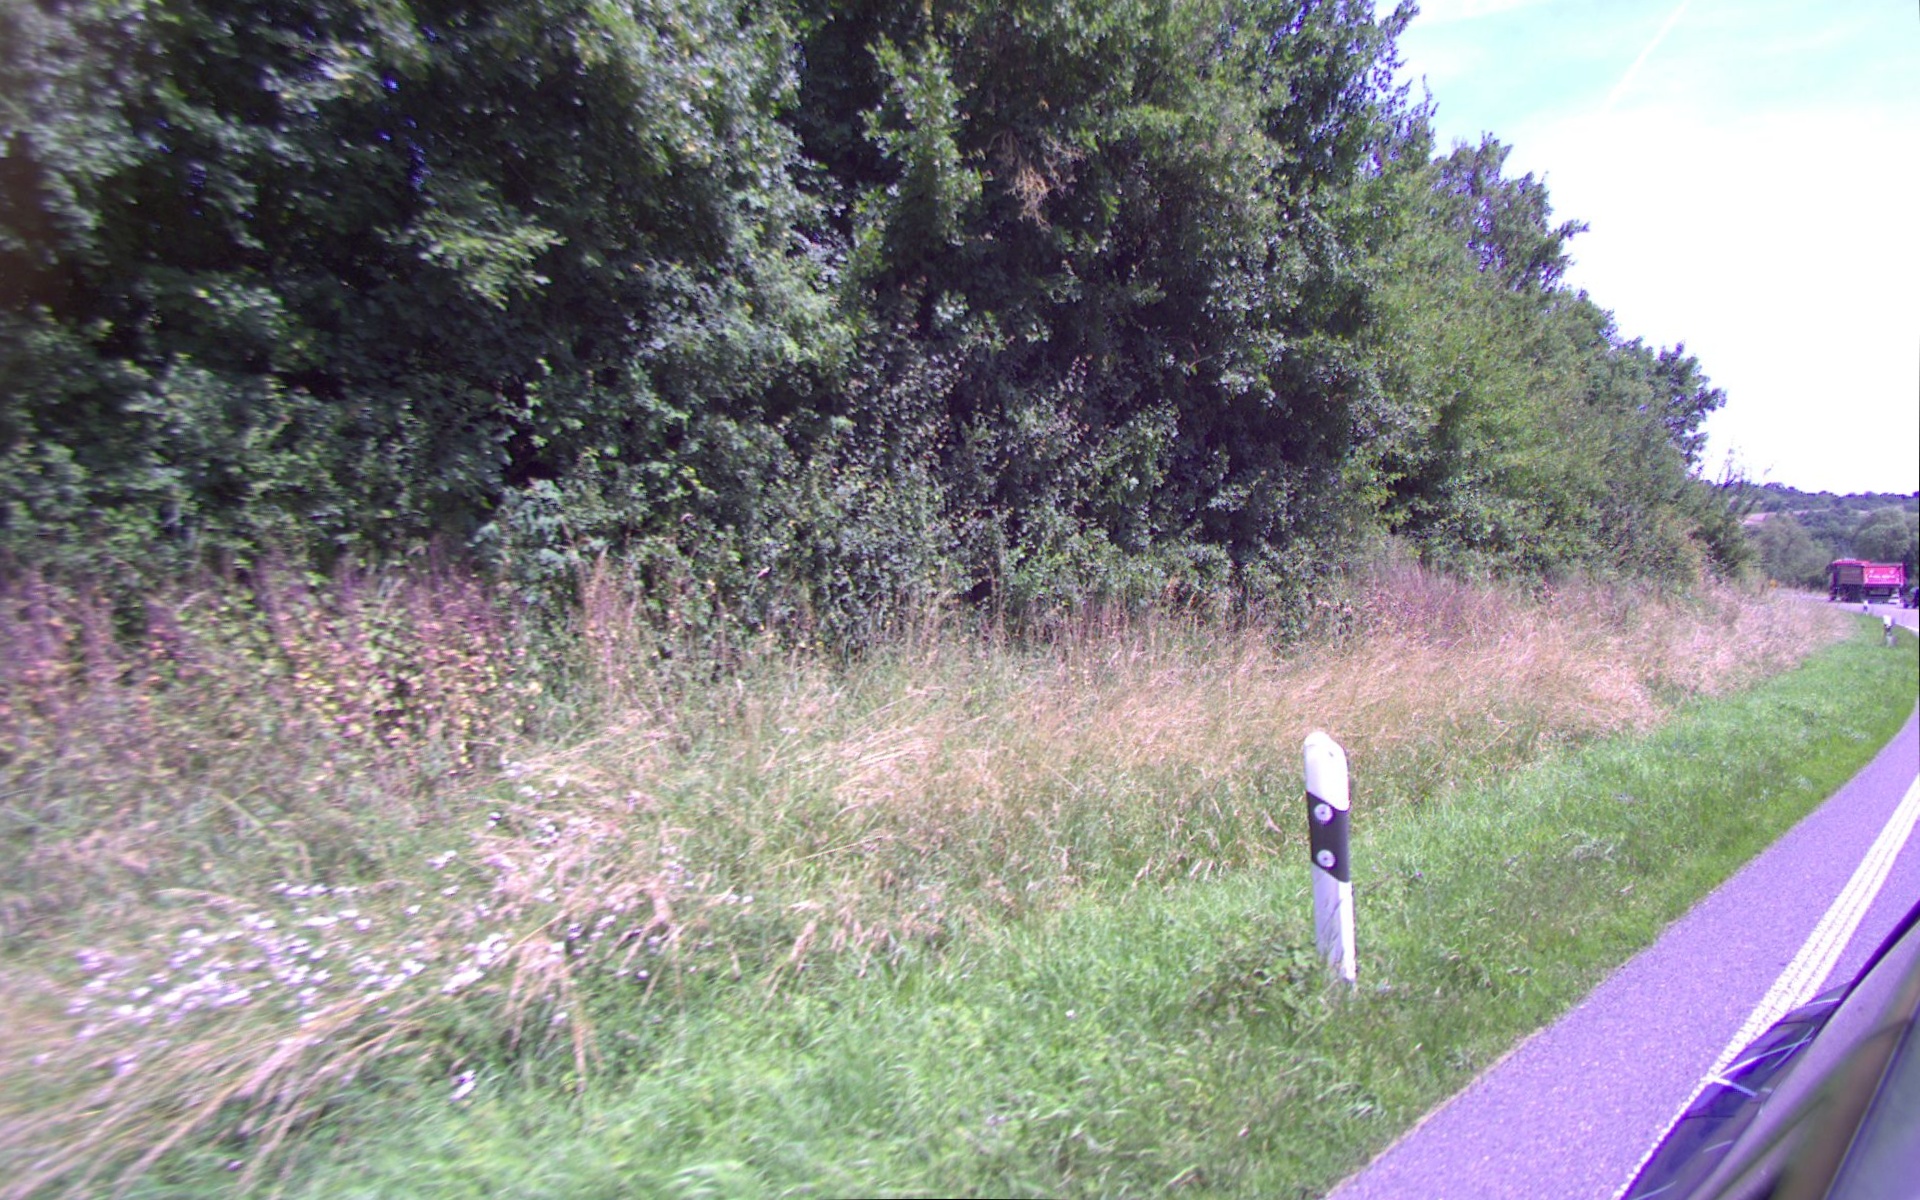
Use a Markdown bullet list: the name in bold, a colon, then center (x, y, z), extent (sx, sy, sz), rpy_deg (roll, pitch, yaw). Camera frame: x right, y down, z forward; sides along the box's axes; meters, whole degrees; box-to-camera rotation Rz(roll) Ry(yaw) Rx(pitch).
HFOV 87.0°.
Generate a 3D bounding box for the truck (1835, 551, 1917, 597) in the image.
- **truck**: center (75.260, -2.076, 83.408), extent (2.540, 3.495, 12.495), rpy_deg (1, 1, 31)
